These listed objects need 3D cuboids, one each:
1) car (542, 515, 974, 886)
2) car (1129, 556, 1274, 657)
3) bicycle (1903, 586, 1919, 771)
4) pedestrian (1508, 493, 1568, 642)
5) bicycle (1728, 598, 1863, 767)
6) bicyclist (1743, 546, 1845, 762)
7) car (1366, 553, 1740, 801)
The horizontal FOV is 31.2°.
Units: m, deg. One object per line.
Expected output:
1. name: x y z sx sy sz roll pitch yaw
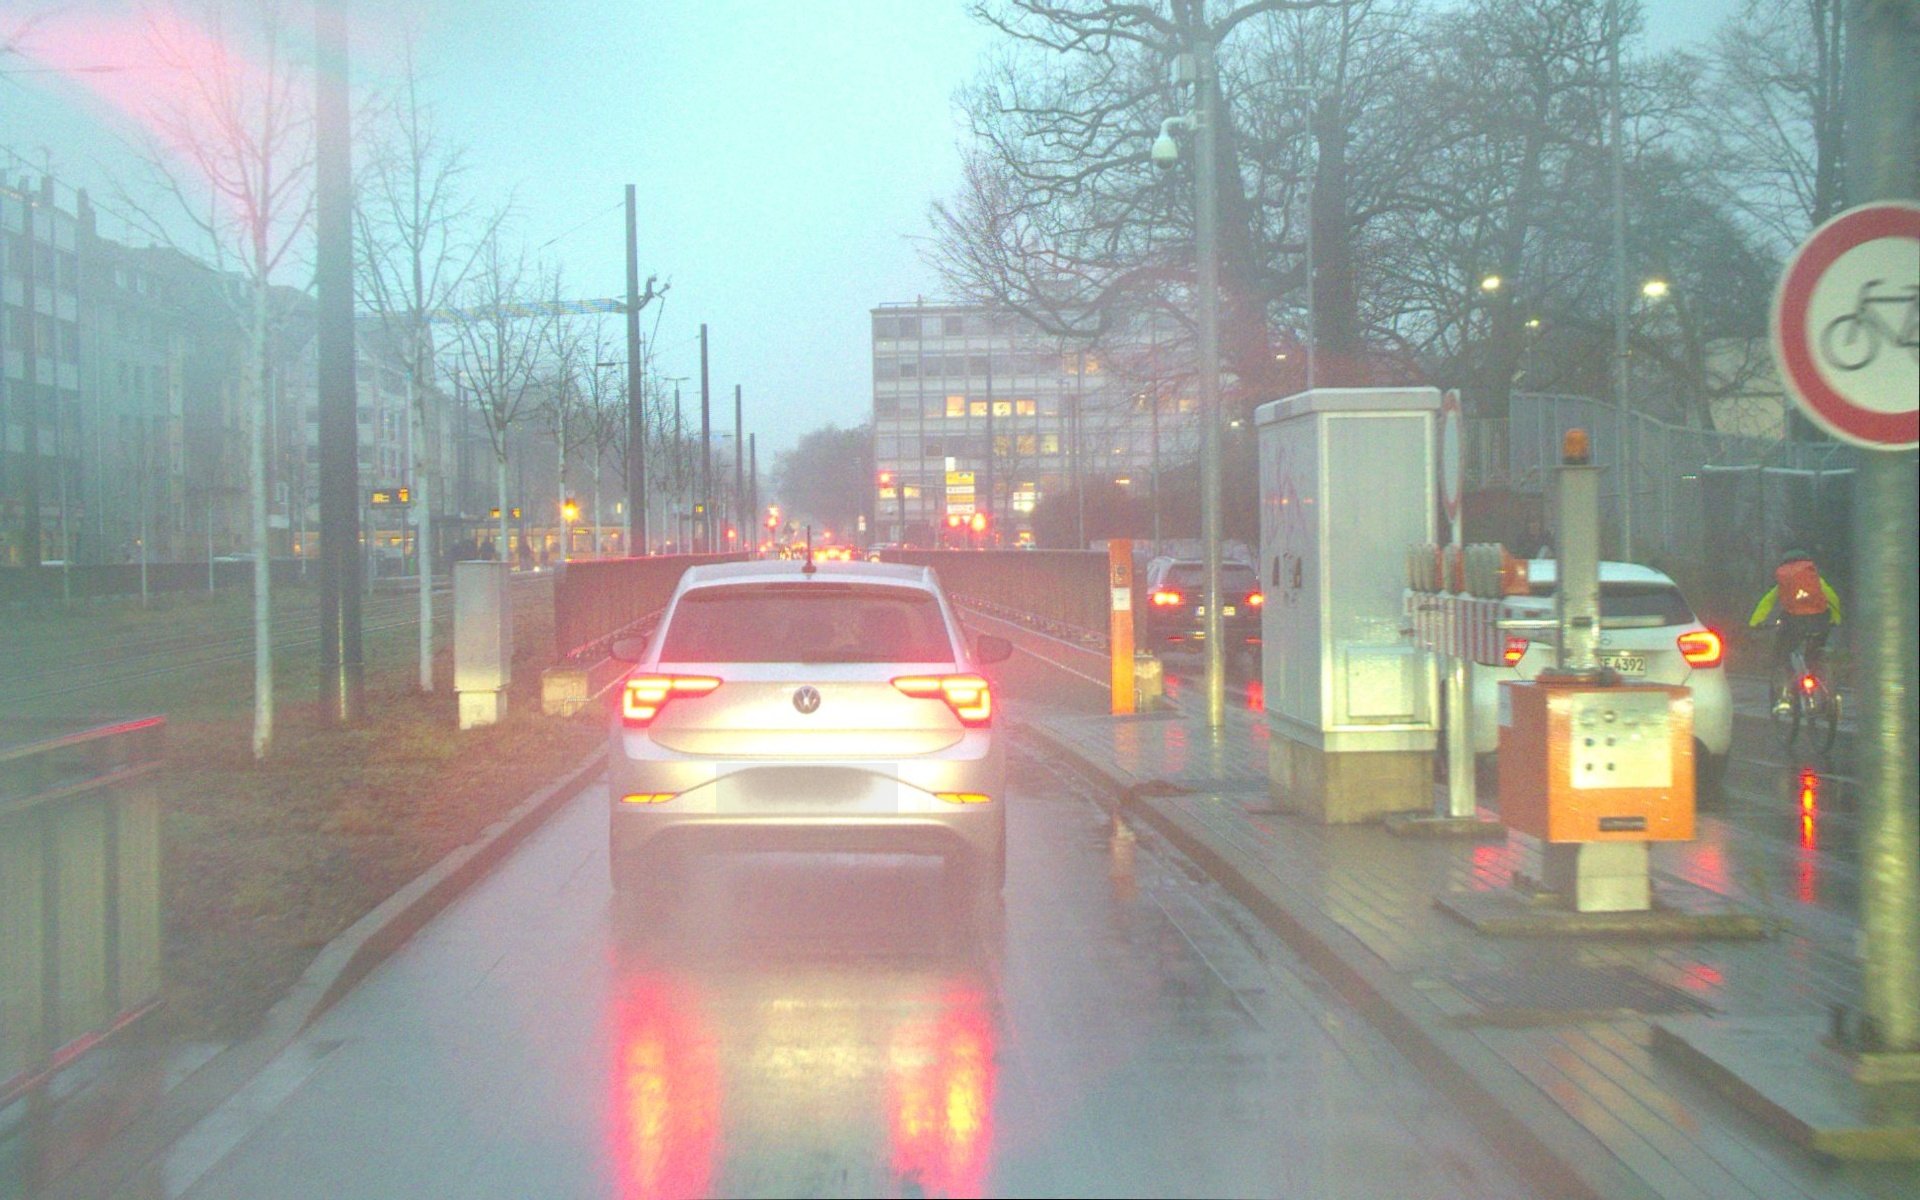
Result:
1. car: -0.844 0.400 15.938 1.722 1.474 4.000 1 0 -1
2. car: 3.254 0.071 46.976 1.623 1.295 4.000 1 0 -1
3. bicycle: 6.420 0.519 21.386 0.411 1.181 2.029 -1 1 -4
4. pedestrian: 7.358 -0.422 43.771 0.531 1.873 0.901 -1 1 -4
5. bicycle: 6.290 0.599 25.958 0.411 1.181 1.949 -1 1 -4
6. bicyclist: 6.289 0.394 25.948 0.500 1.586 0.837 -1 1 -4
7. car: 3.842 0.458 22.895 1.722 1.474 4.000 1 0 -1
